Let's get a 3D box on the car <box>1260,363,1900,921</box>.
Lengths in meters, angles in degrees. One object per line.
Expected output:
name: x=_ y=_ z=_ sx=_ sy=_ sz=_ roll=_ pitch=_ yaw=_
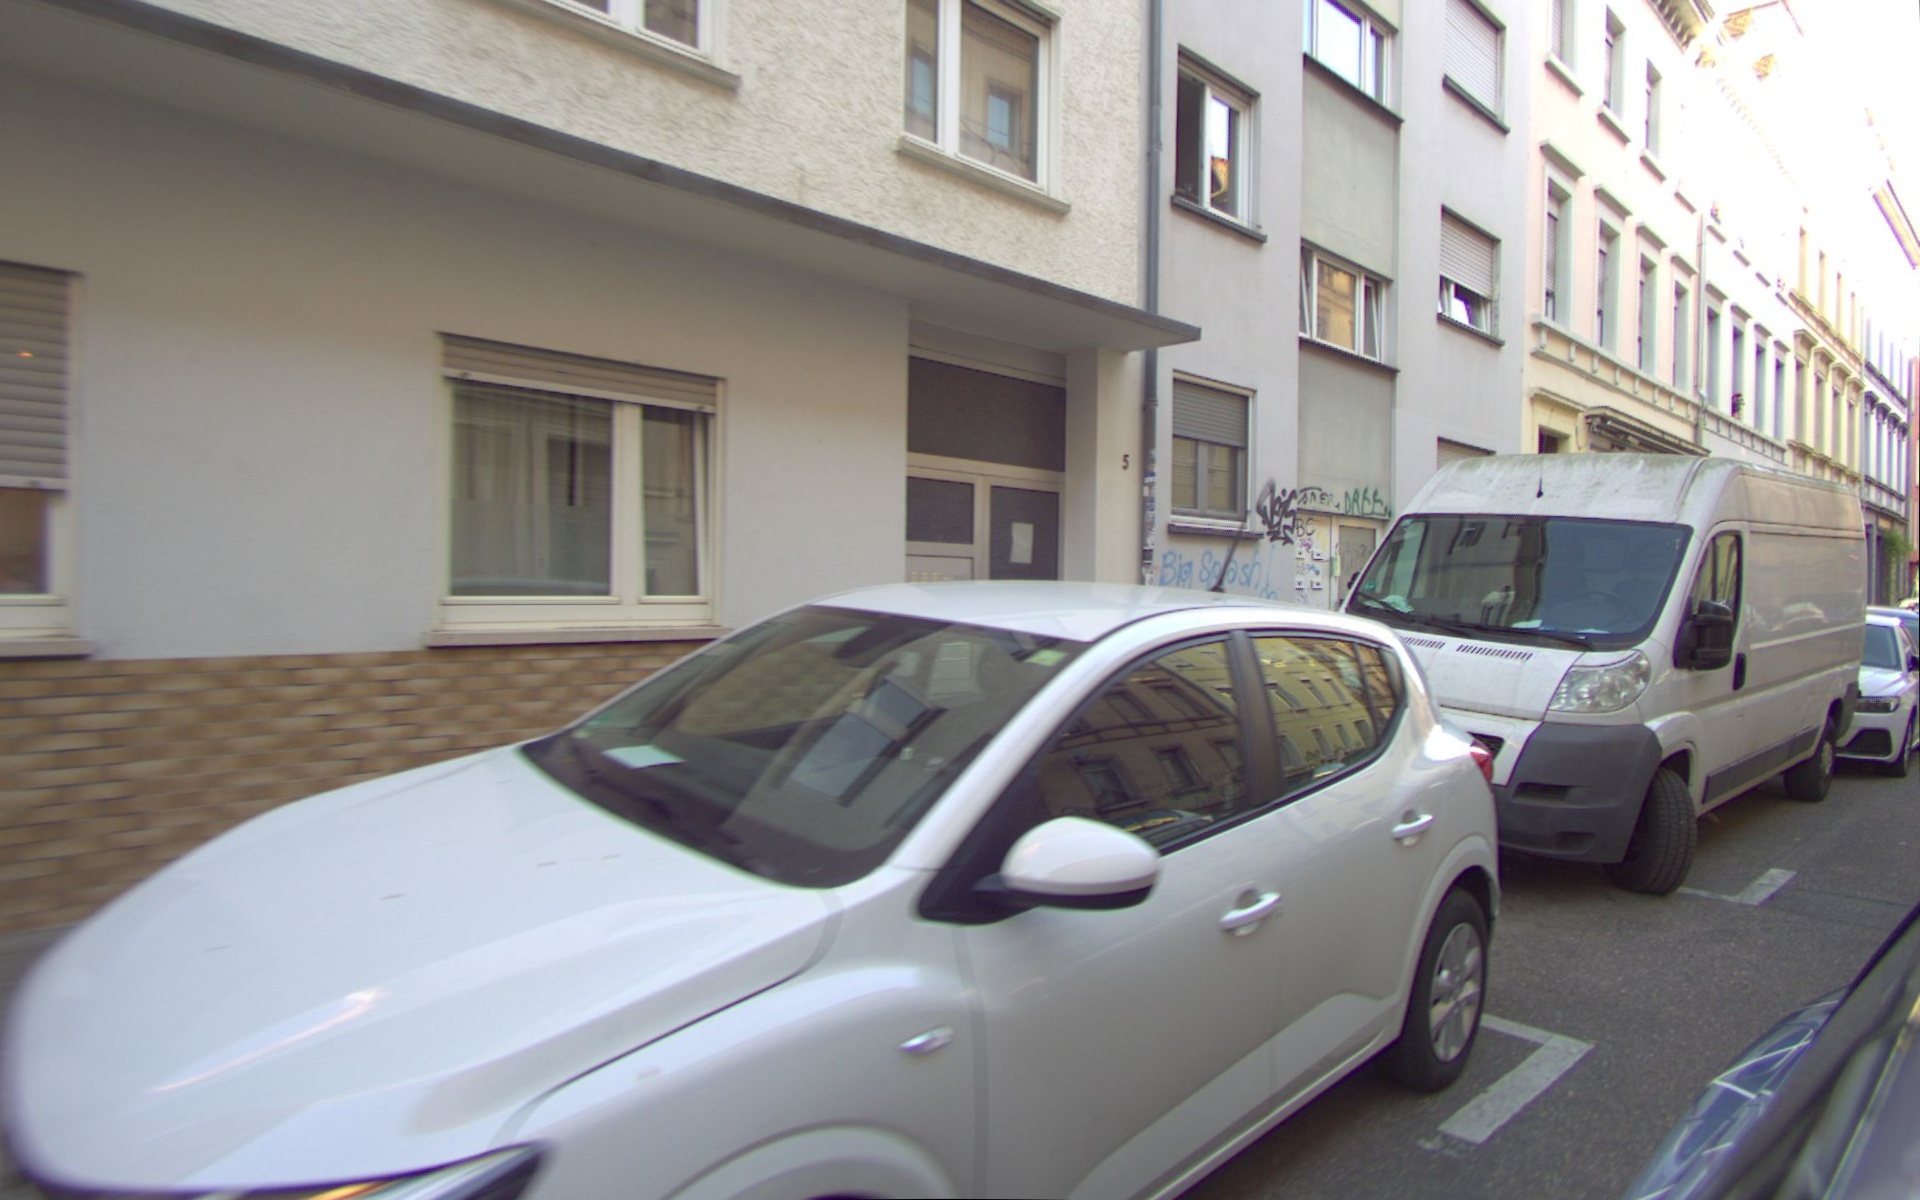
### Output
car: x=4.793 y=0.193 z=7.290 sx=5.914 sy=2.545 sz=2.049 roll=0 pitch=-1 yaw=-39

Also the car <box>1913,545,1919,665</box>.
car: x=24.589 y=0.108 z=24.166 sx=6.077 sy=2.712 sz=2.048 roll=0 pitch=-1 yaw=-41

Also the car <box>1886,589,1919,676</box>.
car: x=19.956 y=0.621 z=20.243 sx=3.792 sy=1.656 sz=1.682 roll=0 pitch=-1 yaw=-41

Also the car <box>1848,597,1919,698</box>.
car: x=16.117 y=0.723 z=16.741 sx=3.793 sy=1.539 sz=1.681 roll=0 pitch=-1 yaw=-42

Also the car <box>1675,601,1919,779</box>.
car: x=8.780 y=0.746 z=10.217 sx=3.792 sy=1.461 sz=1.682 roll=0 pitch=-1 yaw=-41

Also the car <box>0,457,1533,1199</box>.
car: x=0.000 y=0.680 z=2.734 sx=3.796 sy=1.579 sz=1.680 roll=0 pitch=-1 yaw=-44

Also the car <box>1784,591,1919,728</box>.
car: x=12.358 y=0.696 z=13.332 sx=3.792 sy=1.585 sz=1.682 roll=0 pitch=-1 yaw=-41
